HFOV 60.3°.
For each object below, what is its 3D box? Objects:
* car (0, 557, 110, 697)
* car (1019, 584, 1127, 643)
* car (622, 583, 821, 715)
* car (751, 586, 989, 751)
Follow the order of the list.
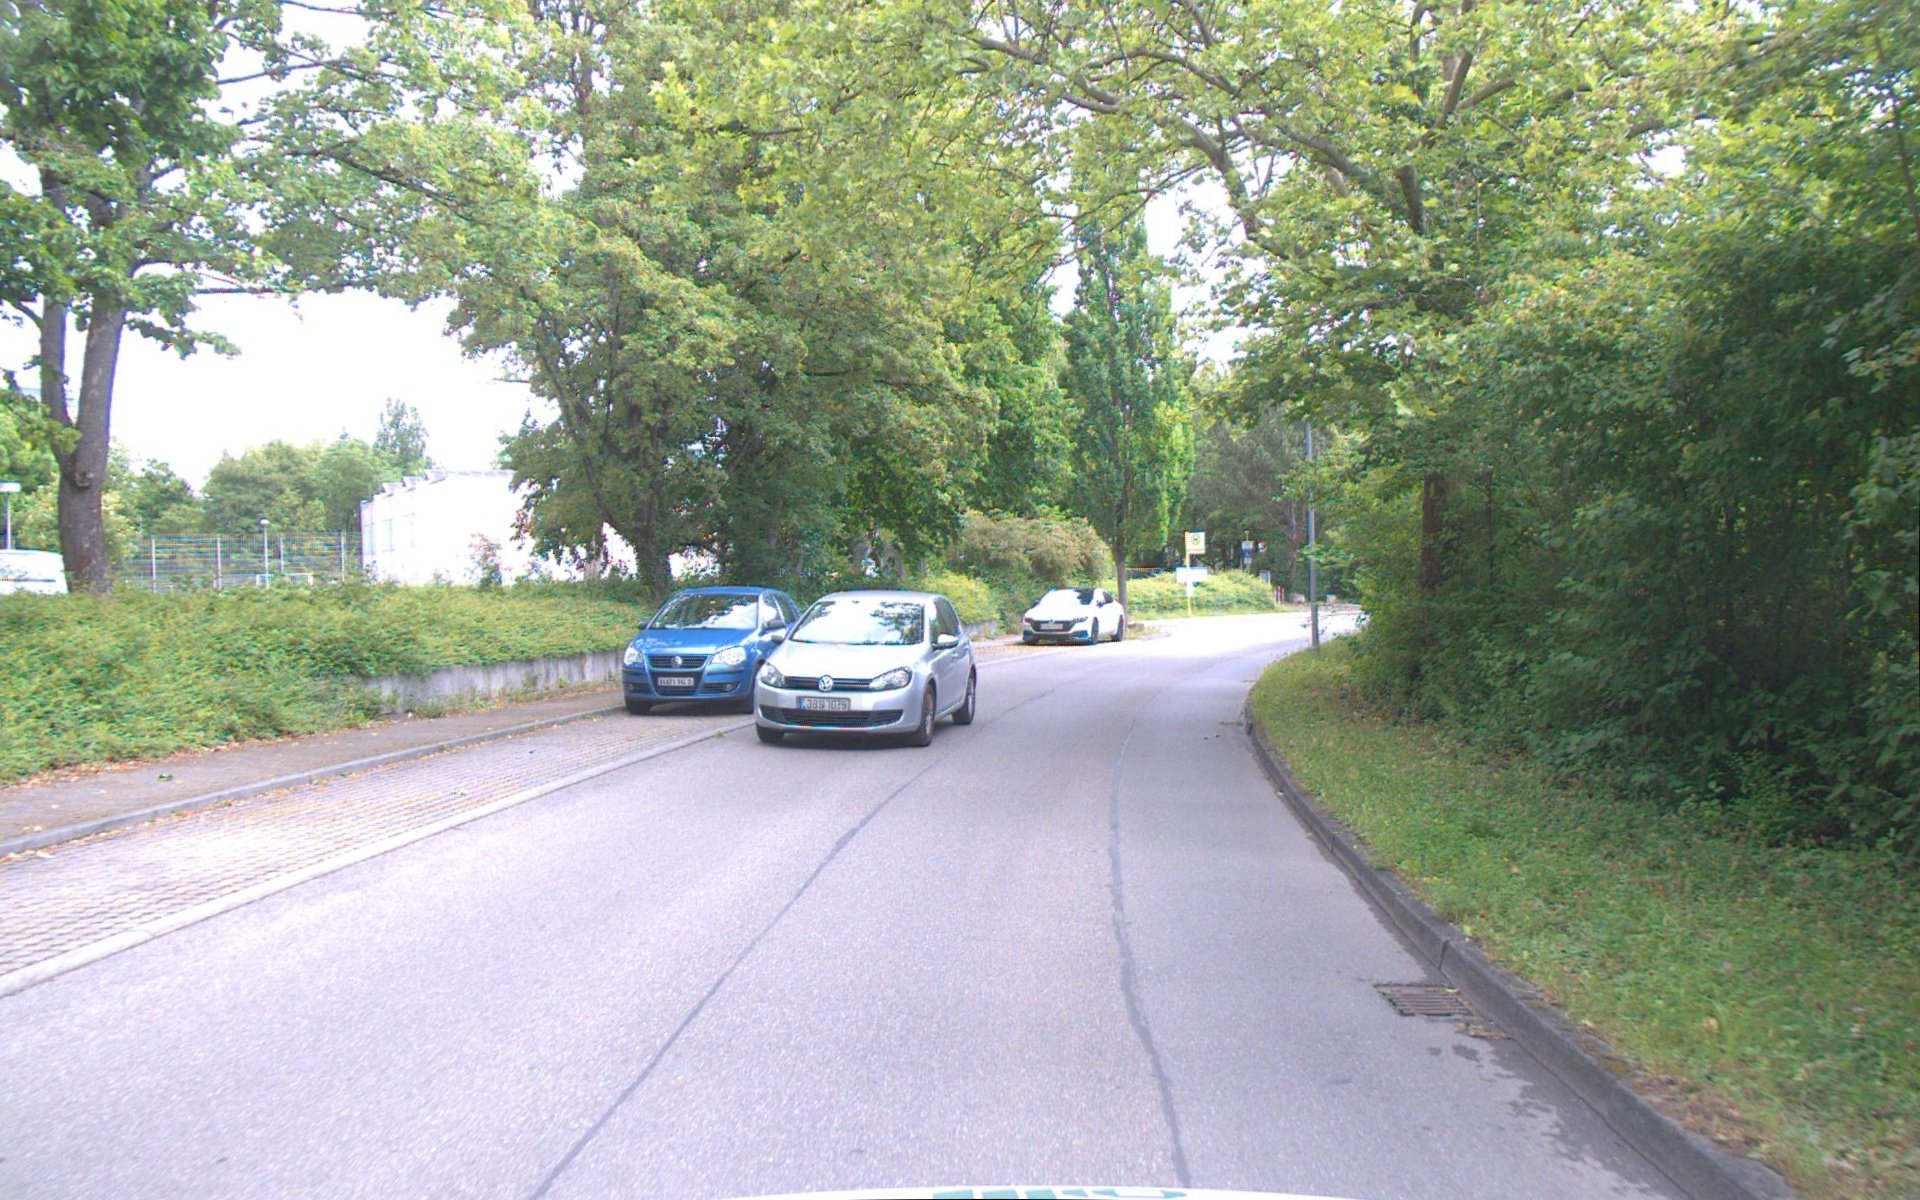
[{"bbox_3d":[-12.257,0.290,21.667,1.723,1.650,3.833,-2,2,-31],"label":"car"},{"bbox_3d":[2.978,0.318,42.739,1.776,1.449,4.362,0,0,18],"label":"car"},{"bbox_3d":[-2.867,0.544,20.623,1.501,1.484,3.723,-1,0,7],"label":"car"},{"bbox_3d":[-0.815,0.613,17.400,1.640,1.488,4.065,1,1,9],"label":"car"}]
